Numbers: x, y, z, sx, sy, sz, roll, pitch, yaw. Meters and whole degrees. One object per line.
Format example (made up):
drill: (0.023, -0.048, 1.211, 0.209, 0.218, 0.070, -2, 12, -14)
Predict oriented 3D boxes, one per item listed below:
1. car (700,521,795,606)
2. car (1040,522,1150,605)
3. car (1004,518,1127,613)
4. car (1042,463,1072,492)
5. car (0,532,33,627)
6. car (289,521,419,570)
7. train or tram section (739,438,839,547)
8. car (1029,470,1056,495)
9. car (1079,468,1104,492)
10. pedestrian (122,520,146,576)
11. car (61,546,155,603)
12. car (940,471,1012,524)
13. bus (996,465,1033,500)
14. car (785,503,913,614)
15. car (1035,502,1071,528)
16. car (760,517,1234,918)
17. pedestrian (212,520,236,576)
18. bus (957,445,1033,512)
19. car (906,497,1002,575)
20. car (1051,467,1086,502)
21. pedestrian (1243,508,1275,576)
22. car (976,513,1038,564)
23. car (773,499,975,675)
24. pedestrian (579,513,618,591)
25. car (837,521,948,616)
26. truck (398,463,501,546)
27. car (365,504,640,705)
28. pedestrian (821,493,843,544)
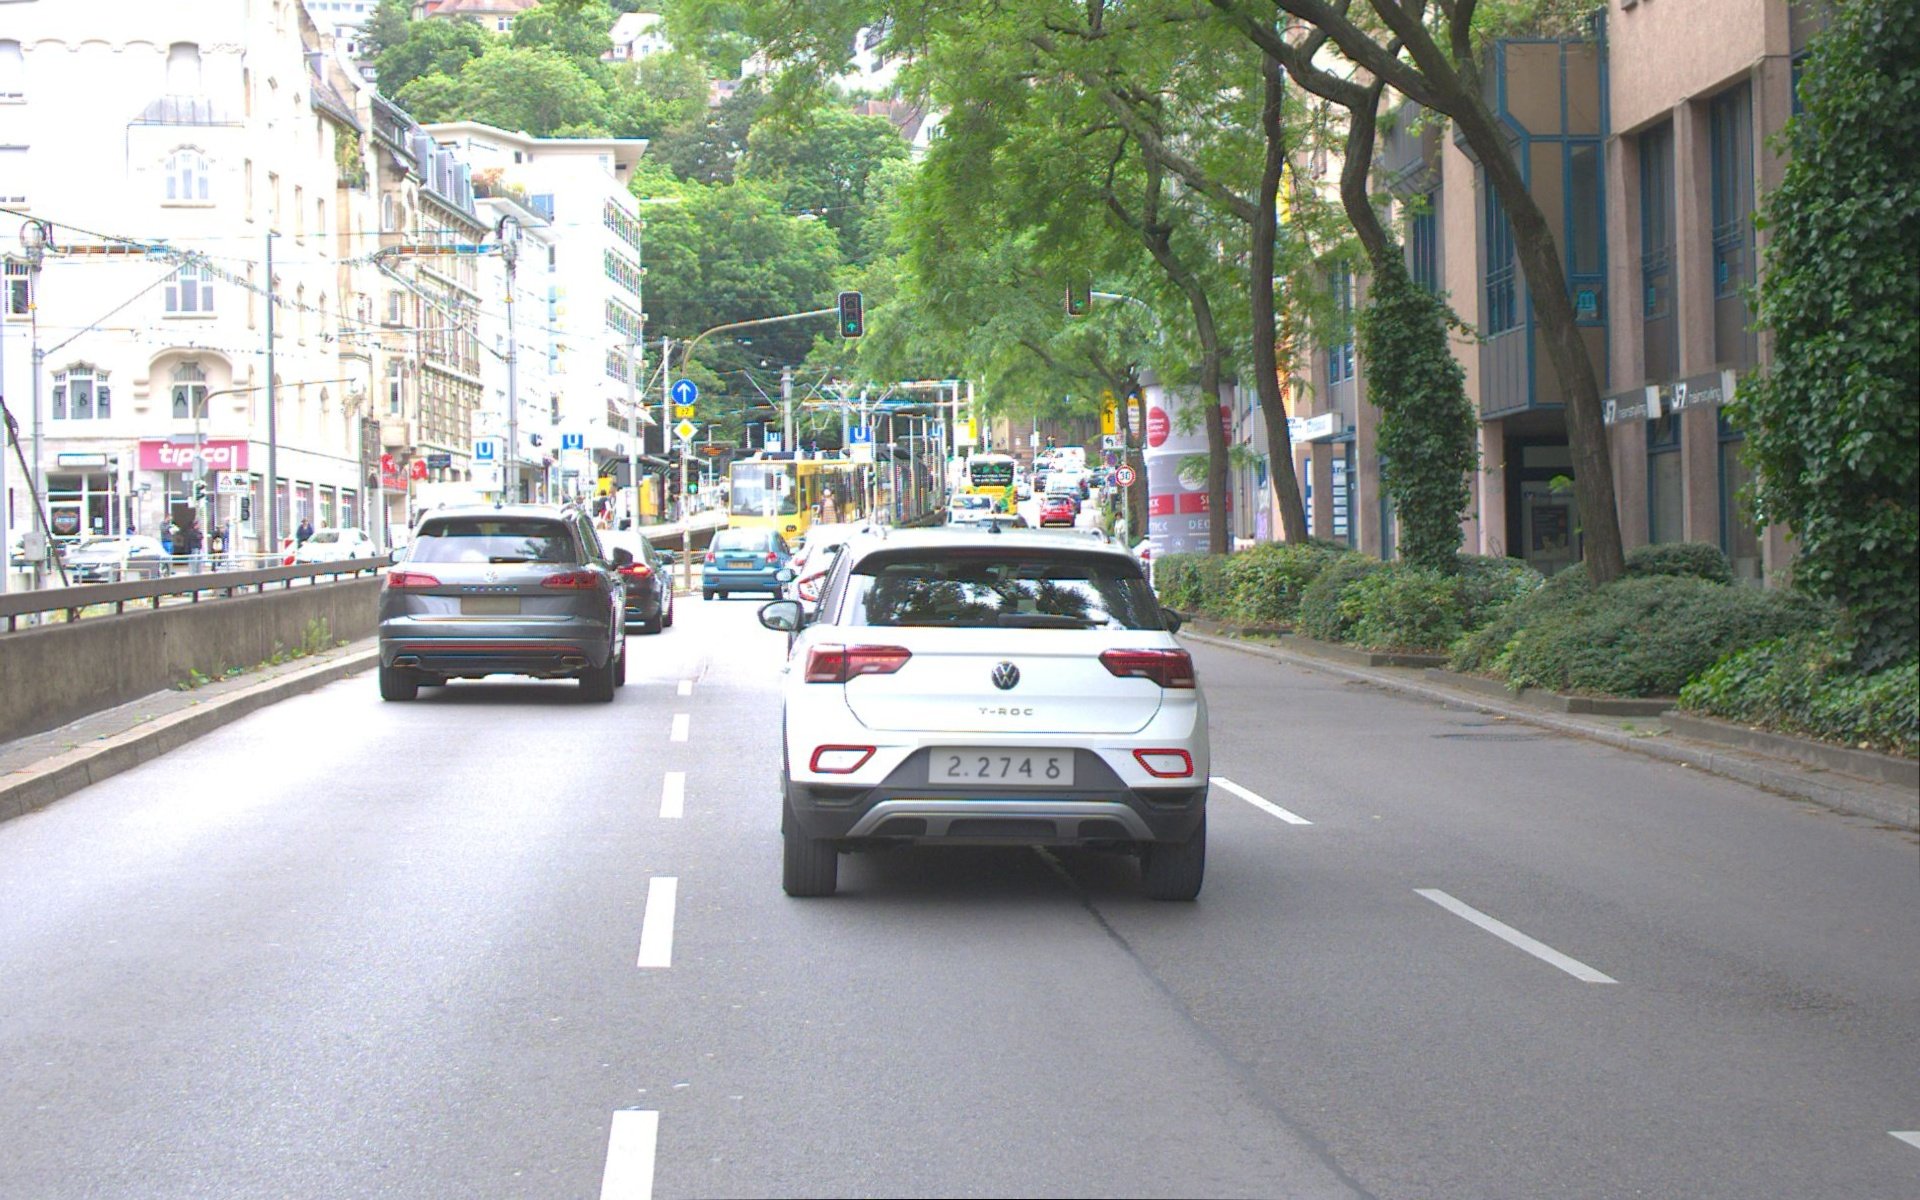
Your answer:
car: (-4.398, -0.763, 71.097, 1.884, 1.678, 4.162, 0, 1, -4)
car: (3.346, -0.938, 86.336, 2.364, 2.007, 5.149, 1, 1, -2)
car: (2.285, -0.769, 76.053, 2.364, 2.007, 5.149, 1, 1, -2)
car: (5.536, -6.979, 195.914, 1.673, 1.555, 3.678, 1, 1, 3)
car: (-19.667, -0.455, 67.942, 1.833, 1.836, 4.606, 3, 1, -6)
car: (-19.680, -1.753, 111.830, 1.751, 1.555, 4.507, 1, 1, 28)
train or tram section: (-5.876, -3.724, 118.972, 2.835, 3.666, 5.751, 1, 2, 3)
car: (5.396, -7.732, 225.813, 1.673, 1.555, 3.678, 1, 1, 3)
car: (8.916, -8.096, 232.831, 1.673, 1.555, 3.678, 1, 1, 3)
pedestrian: (-25.910, -1.630, 107.826, 0.575, 1.773, 0.511, 0, 1, 8)
car: (-23.535, -0.733, 95.079, 1.664, 1.496, 4.043, -1, 1, -2)
car: (0.674, -4.083, 137.398, 2.365, 2.007, 5.147, 1, 1, 6)
bus: (3.288, -7.121, 208.761, 1.993, 2.007, 4.000, 1, 1, -2)
car: (-1.797, -0.672, 54.589, 1.884, 1.678, 4.162, 0, 1, -4)
car: (4.345, -3.971, 160.473, 1.582, 1.168, 3.678, 1, 1, 3)
car: (0.029, 0.437, 15.702, 1.837, 1.578, 4.157, 0, 1, -4)
pedestrian: (-23.428, -1.647, 109.383, 0.510, 1.773, 0.576, 0, 1, 17)
bus: (1.832, -6.085, 174.004, 3.372, 3.054, 13.324, 1, 1, 3)
car: (-0.203, -1.694, 91.726, 2.364, 2.007, 5.149, 1, 1, -2)
car: (6.643, -7.089, 211.175, 1.993, 2.007, 4.000, 1, 1, -1)
pedestrian: (8.809, -1.713, 101.349, 0.835, 2.007, 0.764, 1, 1, -1)
car: (1.593, -2.059, 115.639, 1.885, 1.678, 4.161, 1, 1, 3)
car: (-0.942, -0.159, 35.309, 1.884, 1.678, 4.162, 0, 1, -4)
pedestrian: (-8.024, -1.060, 76.278, 0.764, 1.715, 0.637, 0, 1, 3)
car: (-1.536, -0.713, 76.472, 2.364, 2.007, 5.149, 1, 1, -2)
truck: (-19.683, -3.646, 132.911, 2.267, 3.065, 7.373, 1, 1, 5)
car: (-3.908, 0.015, 29.997, 1.993, 1.630, 4.000, 0, 1, -2)
pedestrian: (-4.293, -2.752, 115.419, 0.685, 1.705, 0.712, 0, 2, 3)
